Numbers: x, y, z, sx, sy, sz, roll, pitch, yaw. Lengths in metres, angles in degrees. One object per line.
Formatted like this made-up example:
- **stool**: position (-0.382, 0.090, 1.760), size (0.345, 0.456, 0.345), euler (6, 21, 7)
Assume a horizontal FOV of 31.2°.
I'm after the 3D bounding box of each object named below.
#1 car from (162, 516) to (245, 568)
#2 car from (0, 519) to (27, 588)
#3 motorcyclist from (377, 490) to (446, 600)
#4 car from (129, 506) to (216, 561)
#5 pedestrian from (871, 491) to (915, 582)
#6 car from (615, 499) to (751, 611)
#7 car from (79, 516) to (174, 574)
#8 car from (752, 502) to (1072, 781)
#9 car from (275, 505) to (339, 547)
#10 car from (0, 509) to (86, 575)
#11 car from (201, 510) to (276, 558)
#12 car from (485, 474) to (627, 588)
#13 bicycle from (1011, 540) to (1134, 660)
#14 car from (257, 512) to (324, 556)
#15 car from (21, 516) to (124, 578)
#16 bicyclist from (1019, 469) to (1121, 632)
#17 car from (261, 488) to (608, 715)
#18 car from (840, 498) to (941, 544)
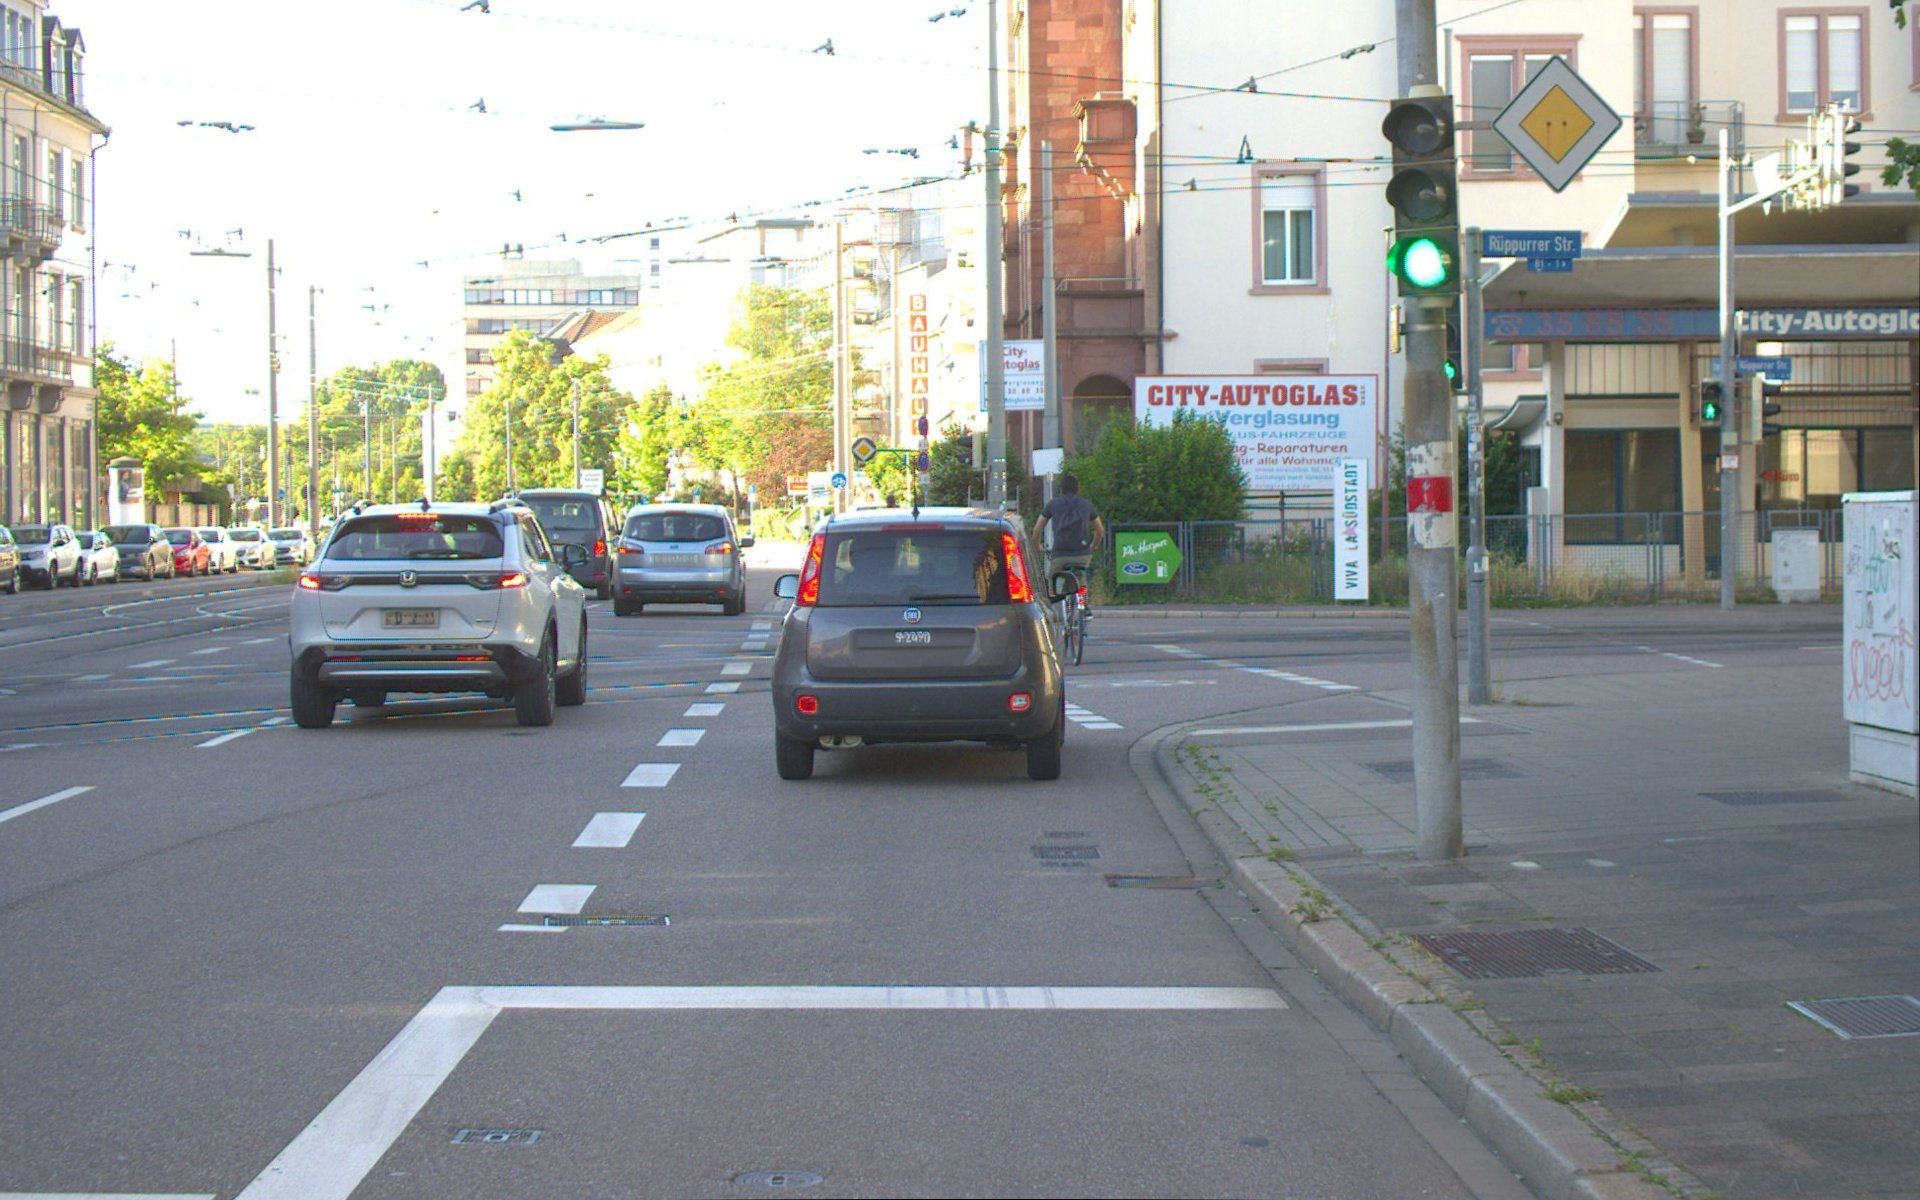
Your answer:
- **car**: position (-23.301, -1.807, 105.997), size (1.719, 1.546, 4.001), euler (-1, 1, -1)
- **car**: position (-22.618, -1.058, 78.319), size (1.719, 1.546, 3.857), euler (-1, 2, -1)
- **motorcyclist**: position (-7.125, -0.723, 44.686), size (0.777, 1.418, 0.891), euler (0, 2, -2)
- **car**: position (-23.163, -1.976, 101.248), size (1.719, 1.546, 4.001), euler (-1, 2, -1)
- **pedestrian**: position (-1.335, -1.272, 68.699), size (0.875, 1.818, 1.184), euler (0, 1, 0)
- **car**: position (-4.059, -0.685, 50.934), size (1.814, 1.576, 4.001), euler (-1, 1, -2)
- **car**: position (-23.077, -1.547, 95.297), size (1.719, 1.546, 4.001), euler (-1, 2, -1)
- **car**: position (-0.198, 0.168, 20.596), size (1.731, 1.495, 4.000), euler (0, 2, 2)
- **car**: position (-24.885, -2.848, 131.098), size (1.719, 1.546, 4.001), euler (-1, 2, -1)
- **car**: position (-23.057, -1.452, 85.079), size (1.835, 1.546, 4.275), euler (-1, 2, -1)
- **car**: position (-23.941, -2.200, 114.248), size (1.719, 1.546, 4.000), euler (0, 1, -1)
- **car**: position (-7.410, -1.283, 63.489), size (2.172, 2.002, 4.809), euler (-1, 1, -2)
- **bicycle**: position (1.046, -0.016, 32.465), size (0.770, 1.082, 1.871), euler (-1, 2, -11)
- **car**: position (-24.328, -2.415, 125.102), size (1.719, 1.546, 4.001), euler (-1, 2, -1)
- **car**: position (-23.256, -1.414, 90.218), size (1.719, 1.546, 4.001), euler (-1, 2, -1)
- **bicyclist**: position (1.033, -0.478, 32.569), size (0.833, 1.520, 0.994), euler (0, 1, -6)
- **car**: position (-3.725, -0.051, 25.073), size (1.947, 1.523, 4.090), euler (0, 2, -1)
- **car**: position (-3.110, -3.548, 154.097), size (4.257, 2.007, 2.001), euler (0, 1, -10)
